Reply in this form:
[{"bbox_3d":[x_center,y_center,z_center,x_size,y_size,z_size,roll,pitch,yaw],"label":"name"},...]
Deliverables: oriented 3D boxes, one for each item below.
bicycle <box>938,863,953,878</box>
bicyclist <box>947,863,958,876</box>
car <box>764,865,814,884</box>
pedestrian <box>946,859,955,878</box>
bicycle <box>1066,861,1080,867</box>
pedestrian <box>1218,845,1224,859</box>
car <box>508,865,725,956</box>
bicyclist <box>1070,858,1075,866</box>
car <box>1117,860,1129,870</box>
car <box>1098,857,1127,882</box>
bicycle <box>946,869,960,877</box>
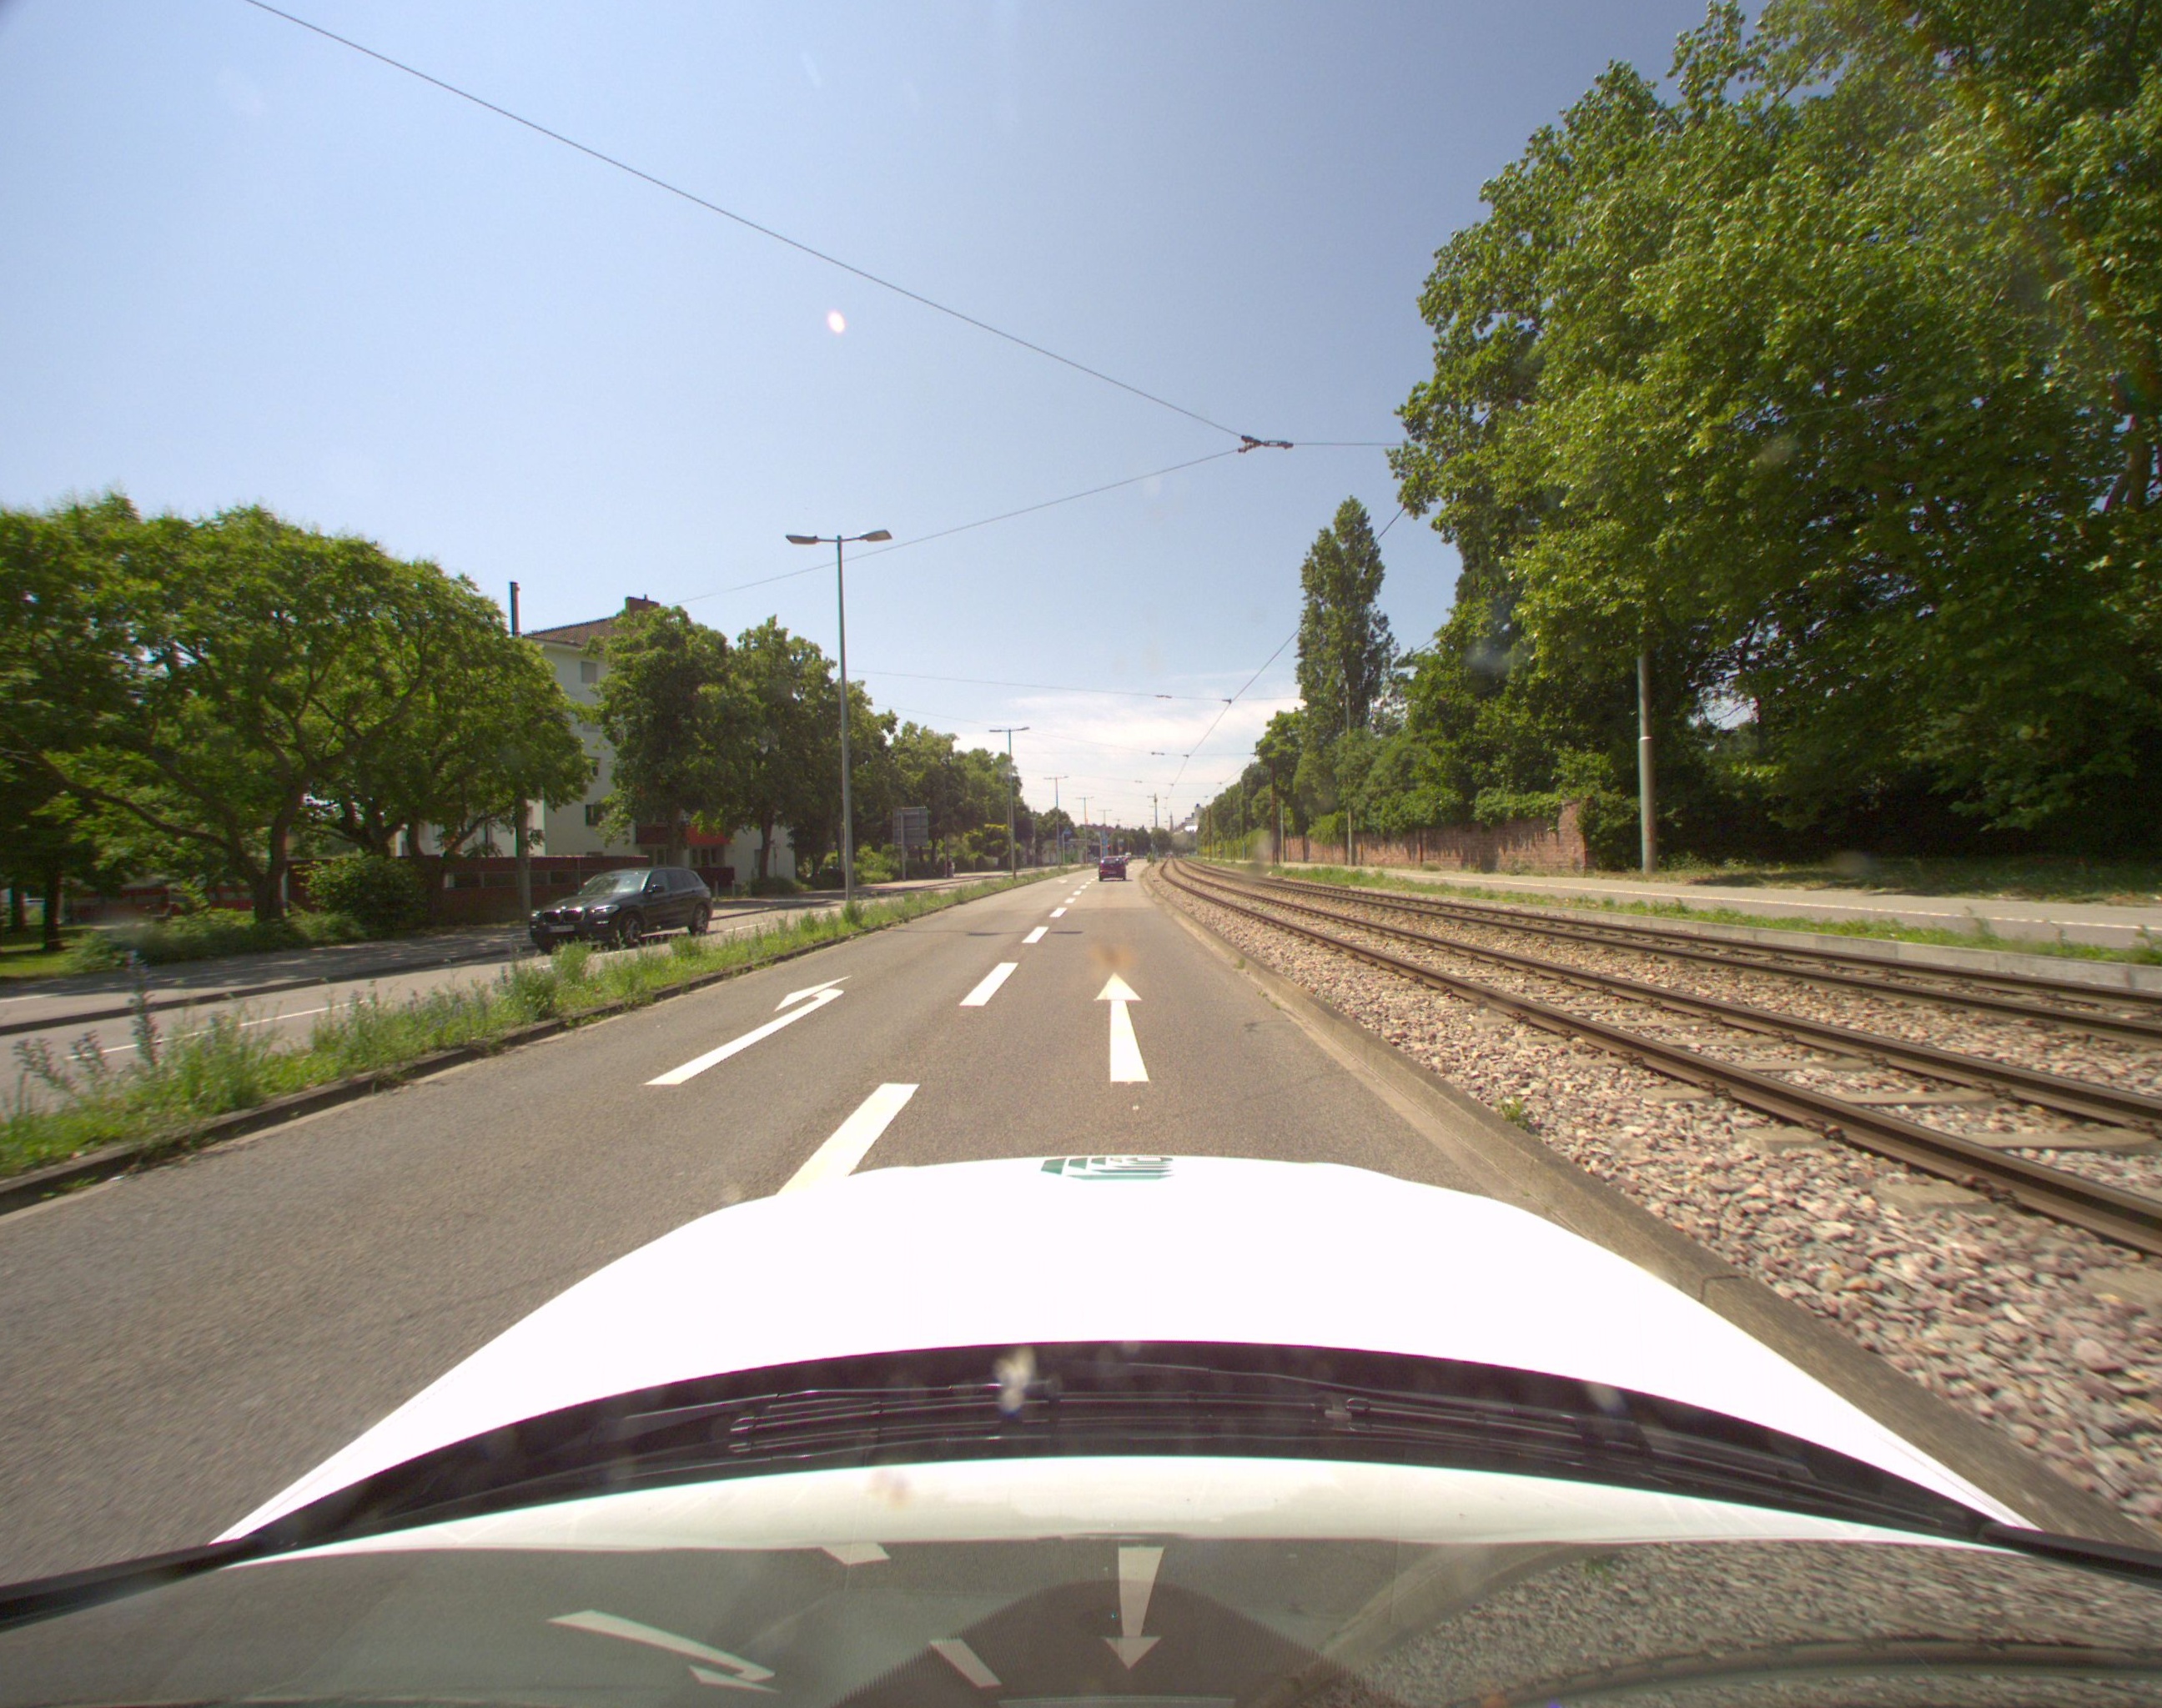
[{"bbox_3d":[-12.716,1.585,76.509,0.640,1.327,1.581,-3,0,18],"label":"bicycle"},{"bbox_3d":[-14.352,1.742,91.032,0.968,1.403,0.486,-3,0,-36],"label":"bicyclist"},{"bbox_3d":[-31.421,2.169,87.784,4.657,1.758,1.997,-3,0,-4],"label":"car"},{"bbox_3d":[-12.198,1.380,76.227,0.545,1.718,0.606,-3,0,18],"label":"pedestrian"},{"bbox_3d":[-1.610,1.997,162.712,2.549,1.038,1.084,-1,-1,-9],"label":"bicycle"},{"bbox_3d":[18.322,-0.256,106.595,0.658,1.726,0.817,-2,0,5],"label":"pedestrian"},{"bbox_3d":[-10.083,1.139,18.240,1.916,1.626,4.758,-4,-1,2],"label":"car"},{"bbox_3d":[-1.667,1.583,162.740,0.944,1.593,1.084,-1,-1,-9],"label":"bicyclist"},{"bbox_3d":[6.531,1.669,126.687,1.697,1.480,3.717,0,0,1],"label":"car"},{"bbox_3d":[1.919,0.932,49.255,1.696,1.477,3.718,0,-1,3],"label":"car"},{"bbox_3d":[-14.323,2.130,91.040,1.438,0.773,0.492,-3,0,-36],"label":"bicycle"}]
